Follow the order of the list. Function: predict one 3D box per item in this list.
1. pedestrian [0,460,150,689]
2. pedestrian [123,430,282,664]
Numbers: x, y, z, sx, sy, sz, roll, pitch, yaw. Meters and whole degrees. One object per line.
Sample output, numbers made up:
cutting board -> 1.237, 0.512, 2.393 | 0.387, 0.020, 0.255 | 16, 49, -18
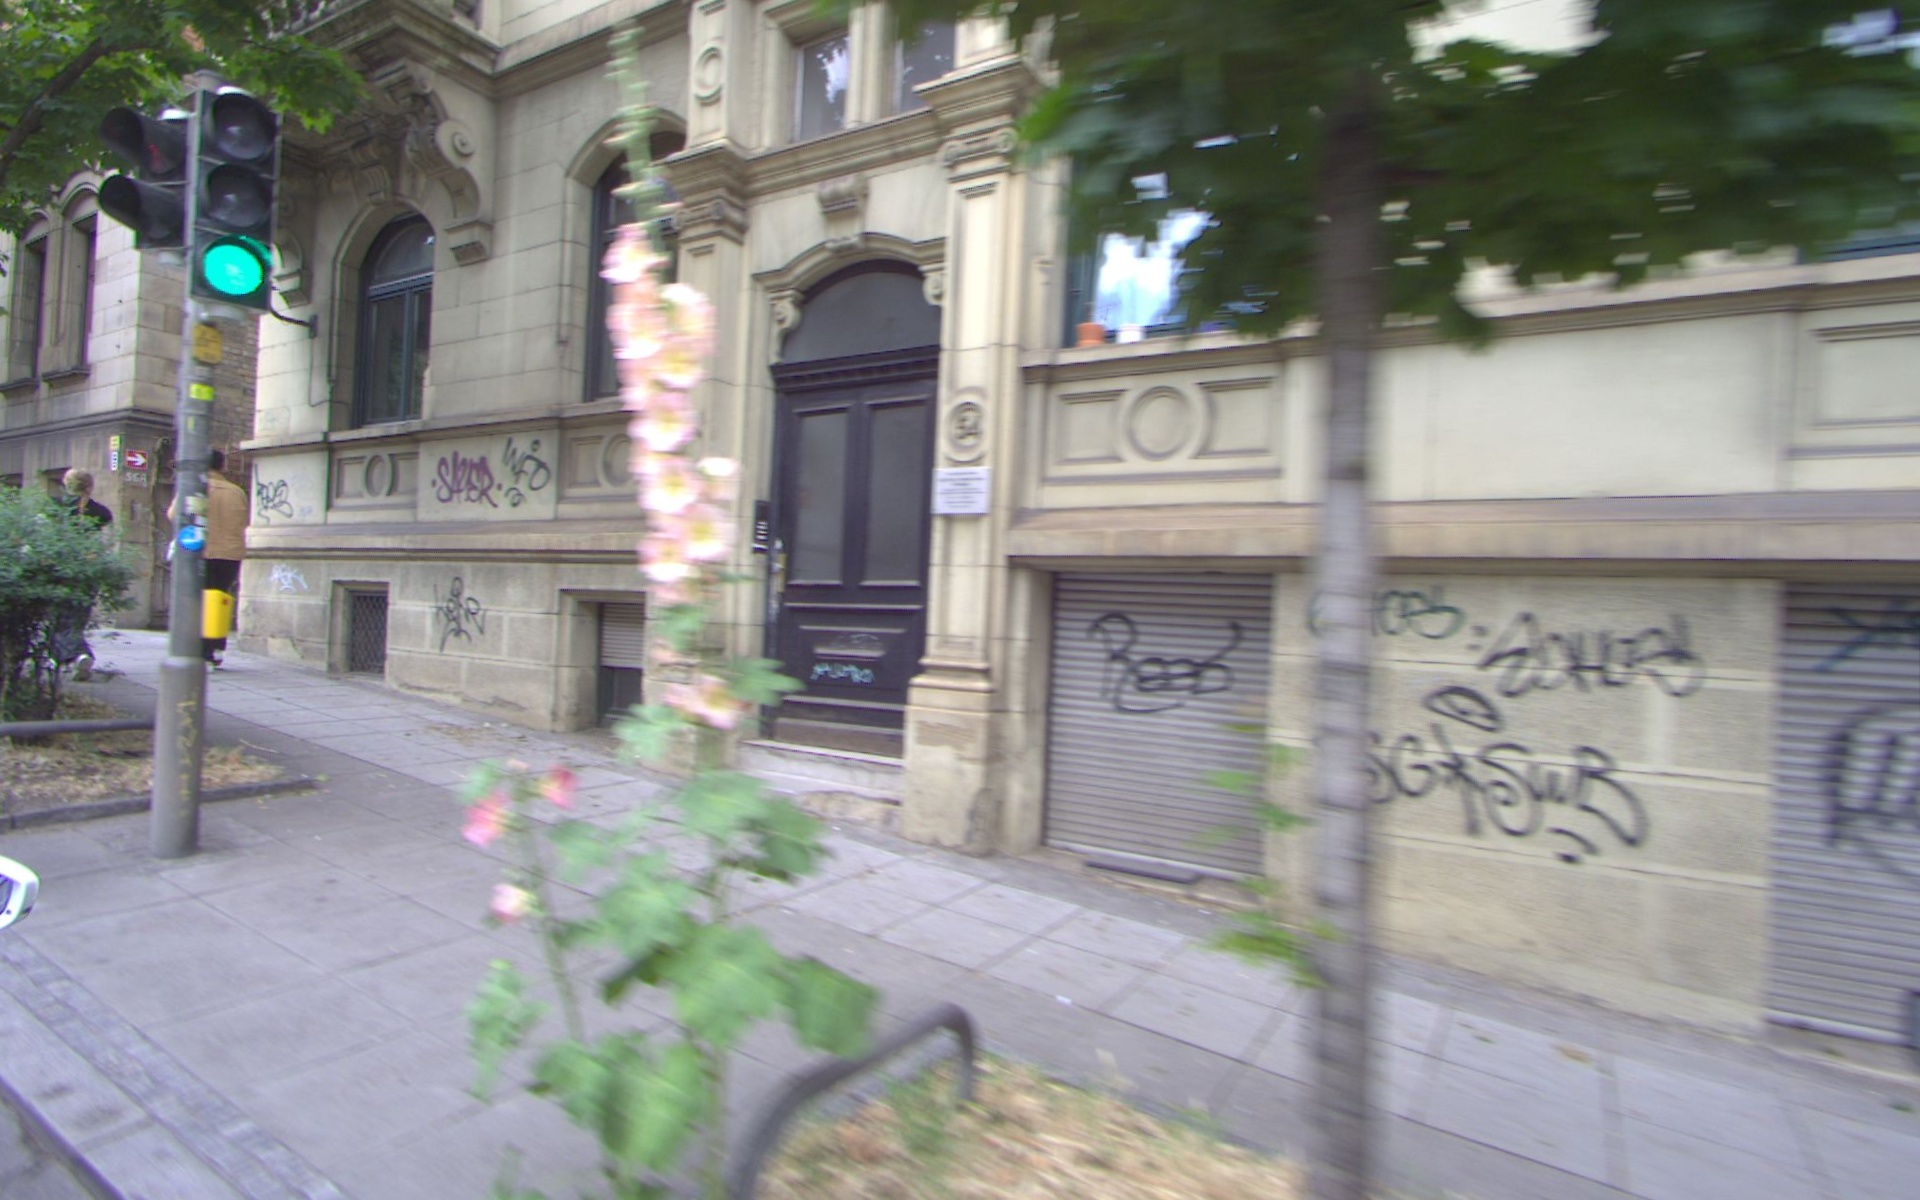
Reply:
pedestrian -> -6.860, -0.210, 7.641 | 1.196, 1.595, 0.685 | 6, 3, 32
pedestrian -> -6.448, -0.433, 8.557 | 1.103, 1.853, 0.685 | 4, 1, 32
